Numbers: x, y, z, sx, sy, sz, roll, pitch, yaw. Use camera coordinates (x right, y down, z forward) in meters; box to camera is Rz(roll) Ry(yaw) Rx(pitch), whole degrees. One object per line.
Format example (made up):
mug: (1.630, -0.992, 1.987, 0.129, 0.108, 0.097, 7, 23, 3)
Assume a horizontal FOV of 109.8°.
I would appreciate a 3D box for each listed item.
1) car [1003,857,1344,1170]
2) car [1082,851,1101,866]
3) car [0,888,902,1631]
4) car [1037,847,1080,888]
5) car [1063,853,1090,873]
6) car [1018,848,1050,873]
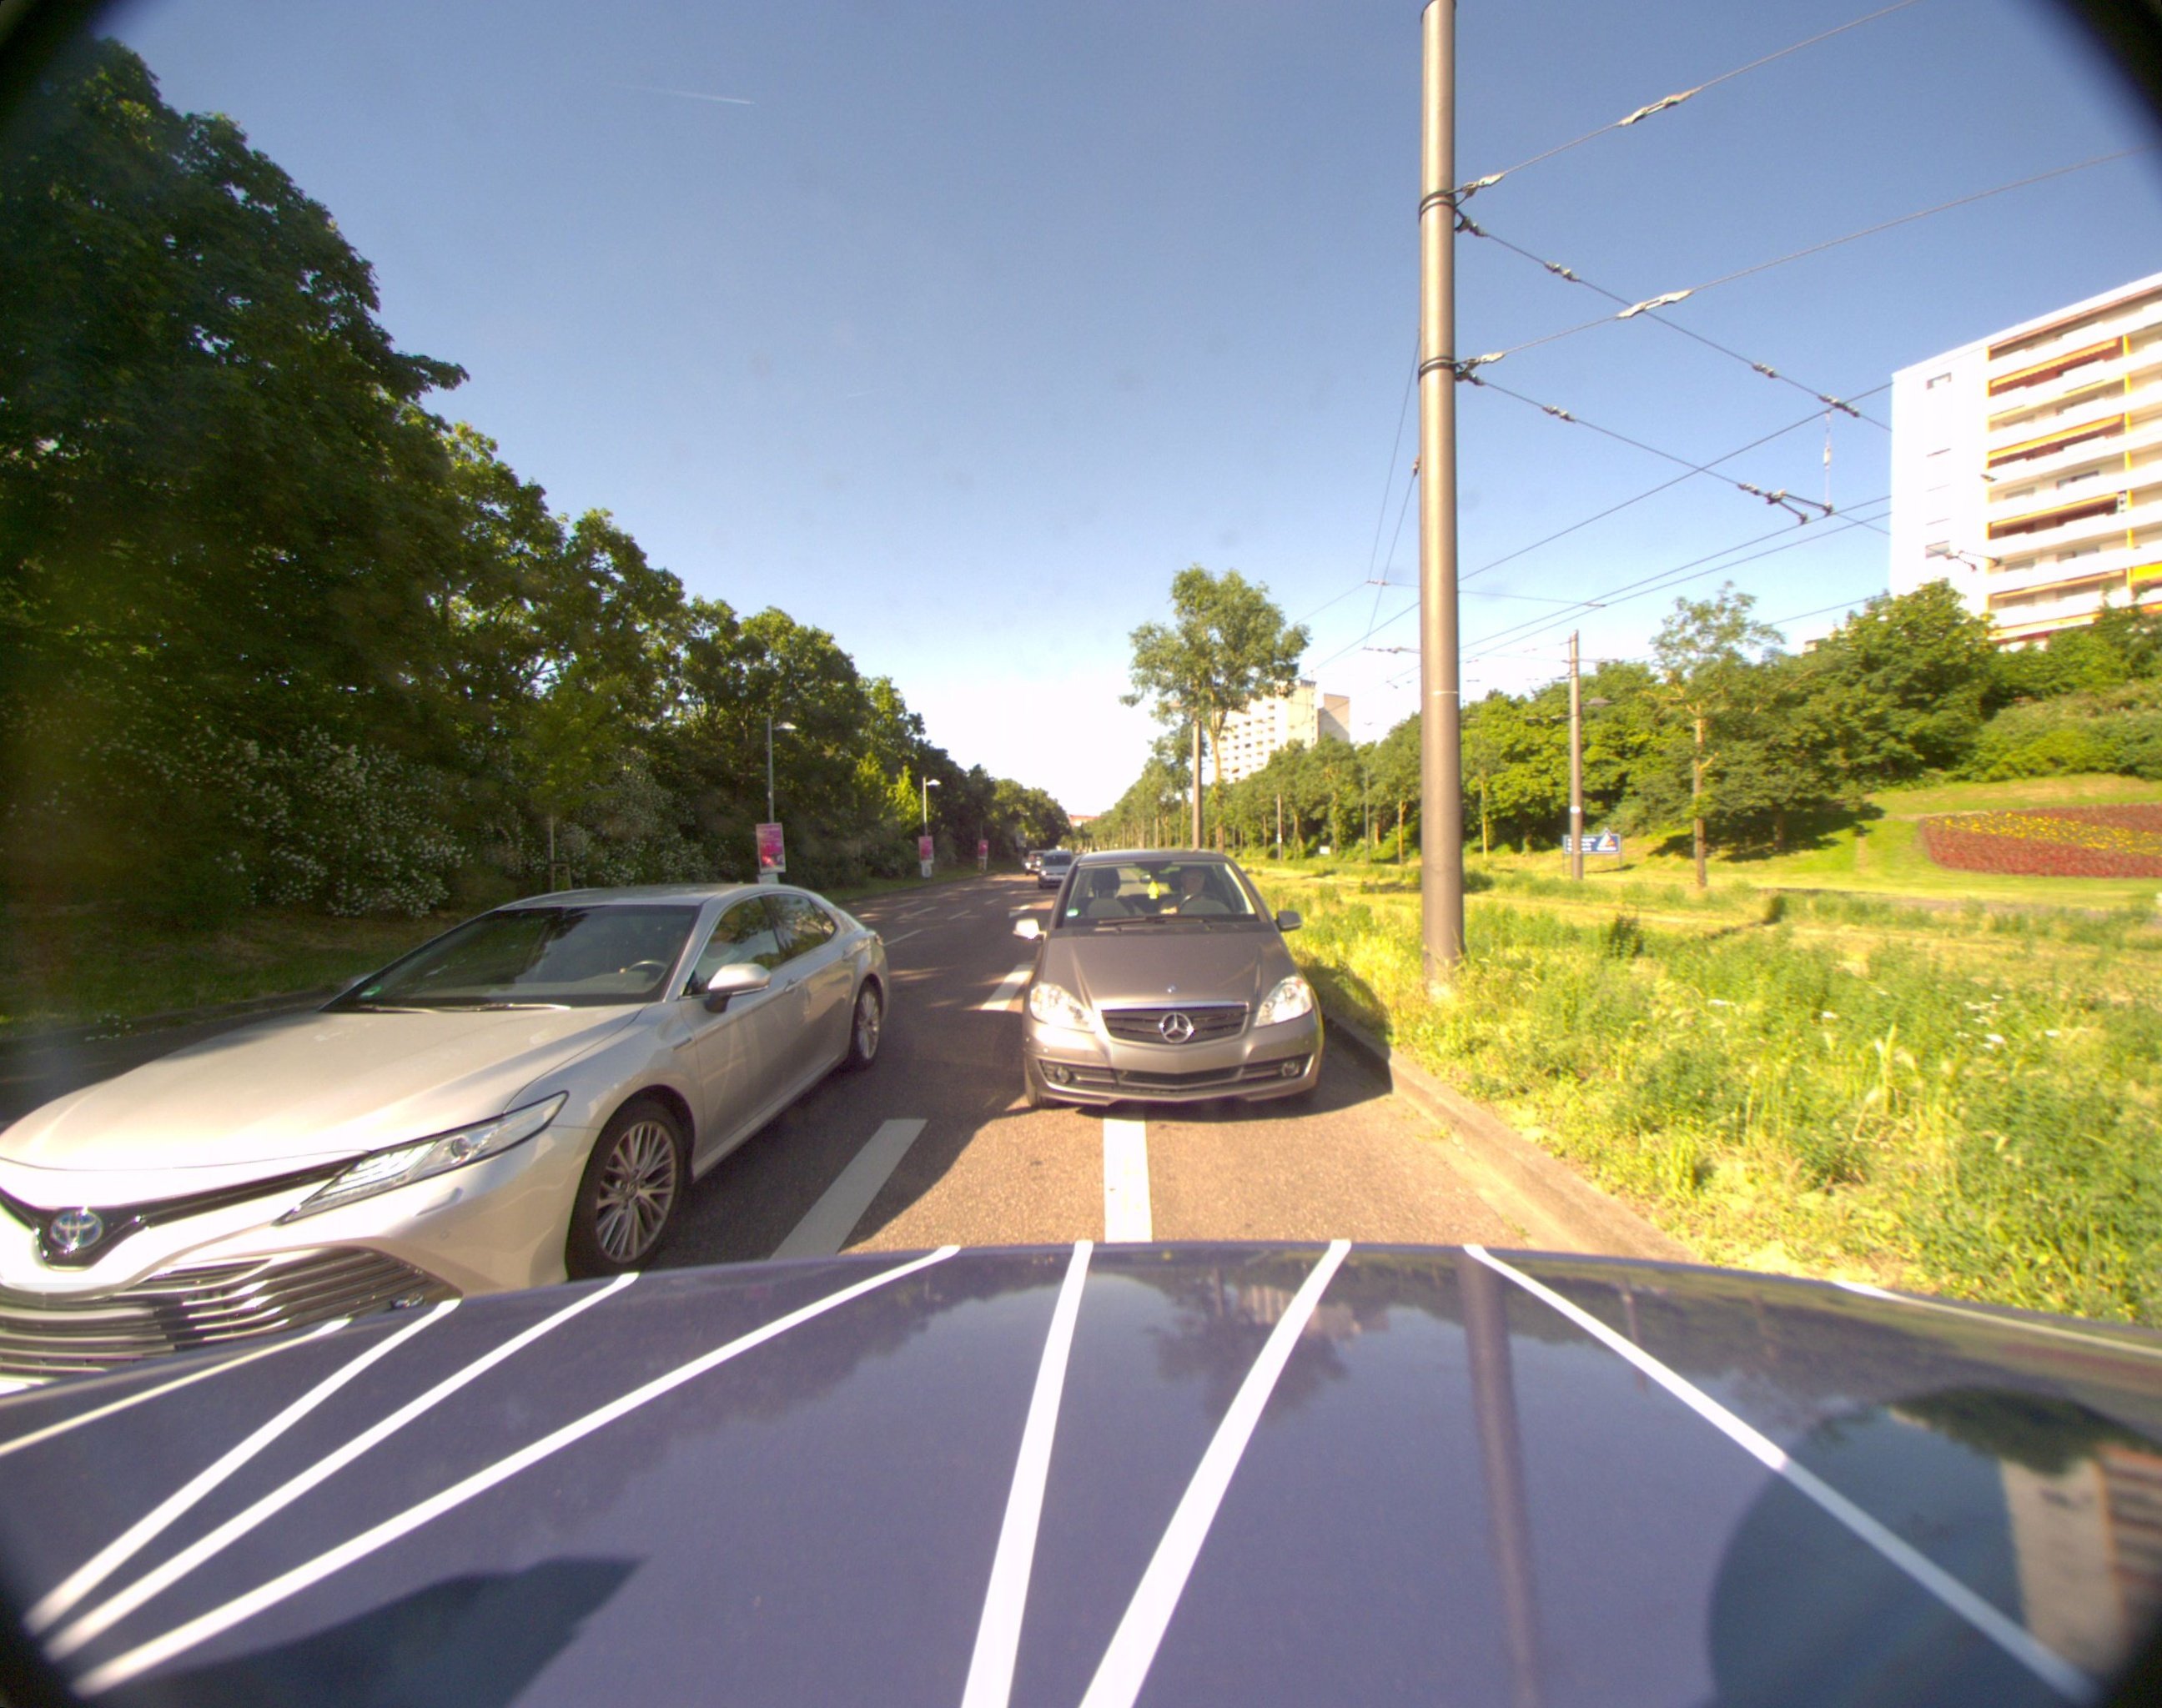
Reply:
car: (0.518, 0.851, 6.200, 1.777, 1.597, 4.384, -1, 0, 1)
car: (1.019, 0.457, 74.740, 1.776, 1.395, 4.067, -1, 0, 2)
car: (-2.642, 1.044, 4.116, 2.069, 1.451, 4.749, -1, 0, 2)
car: (-1.030, 0.613, 37.311, 1.822, 1.893, 4.622, -1, 0, 2)
car: (-0.254, 0.628, 54.681, 1.776, 1.395, 4.067, -1, 0, 2)
car: (-3.659, 0.471, 60.176, 1.998, 1.882, 5.148, -1, 0, 1)
